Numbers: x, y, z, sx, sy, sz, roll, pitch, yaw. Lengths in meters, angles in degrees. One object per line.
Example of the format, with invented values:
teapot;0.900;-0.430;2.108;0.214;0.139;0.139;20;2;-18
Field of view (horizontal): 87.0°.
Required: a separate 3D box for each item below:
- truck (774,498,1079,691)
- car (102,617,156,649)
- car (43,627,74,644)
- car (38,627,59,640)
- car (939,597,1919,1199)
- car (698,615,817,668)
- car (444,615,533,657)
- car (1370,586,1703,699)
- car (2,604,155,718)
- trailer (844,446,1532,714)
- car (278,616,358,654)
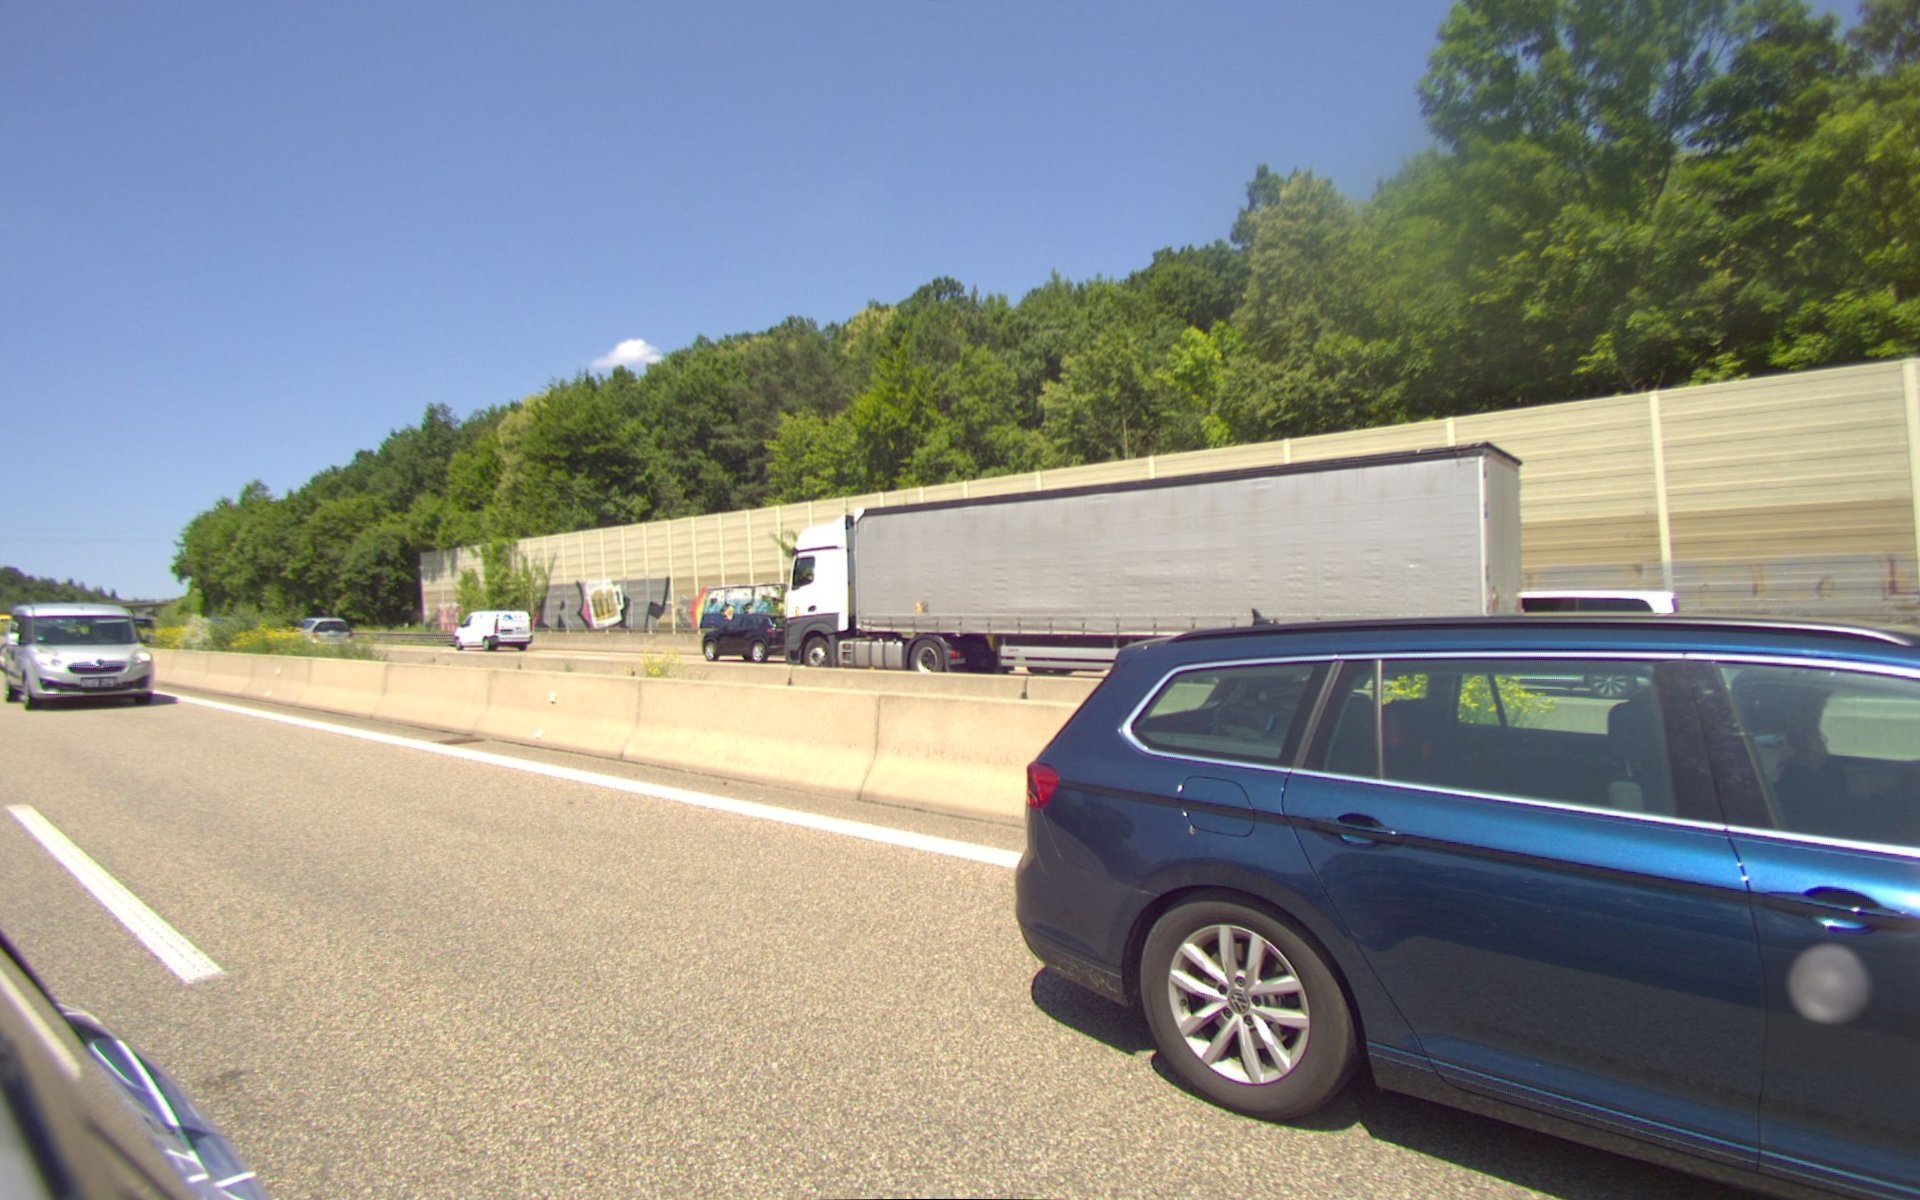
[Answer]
truck;-0.993;-0.057;24.149;7.309;3.938;2.784;-1;-1;40
car;-46.861;1.852;57.045;4.657;1.711;1.666;-2;-2;42
car;-83.839;3.285;94.145;4.714;1.589;1.728;-2;-2;43
car;-114.346;4.174;126.910;3.712;1.663;1.624;-2;-2;43
car;2.270;0.720;2.629;4.727;1.438;1.714;-2;-1;41
car;-6.777;1.335;33.703;4.097;1.653;1.791;-1;-1;41
car;-22.750;1.686;48.715;5.301;1.881;1.901;-1;-1;41
car;10.548;0.742;18.811;5.105;1.824;1.791;-1;-1;41
car;-16.136;1.041;18.460;4.001;1.858;1.756;-2;-2;44
trailer;3.437;-0.204;20.410;13.816;3.938;2.784;-1;-1;40
car;-28.349;1.523;44.629;4.601;1.588;1.791;-1;-1;41
